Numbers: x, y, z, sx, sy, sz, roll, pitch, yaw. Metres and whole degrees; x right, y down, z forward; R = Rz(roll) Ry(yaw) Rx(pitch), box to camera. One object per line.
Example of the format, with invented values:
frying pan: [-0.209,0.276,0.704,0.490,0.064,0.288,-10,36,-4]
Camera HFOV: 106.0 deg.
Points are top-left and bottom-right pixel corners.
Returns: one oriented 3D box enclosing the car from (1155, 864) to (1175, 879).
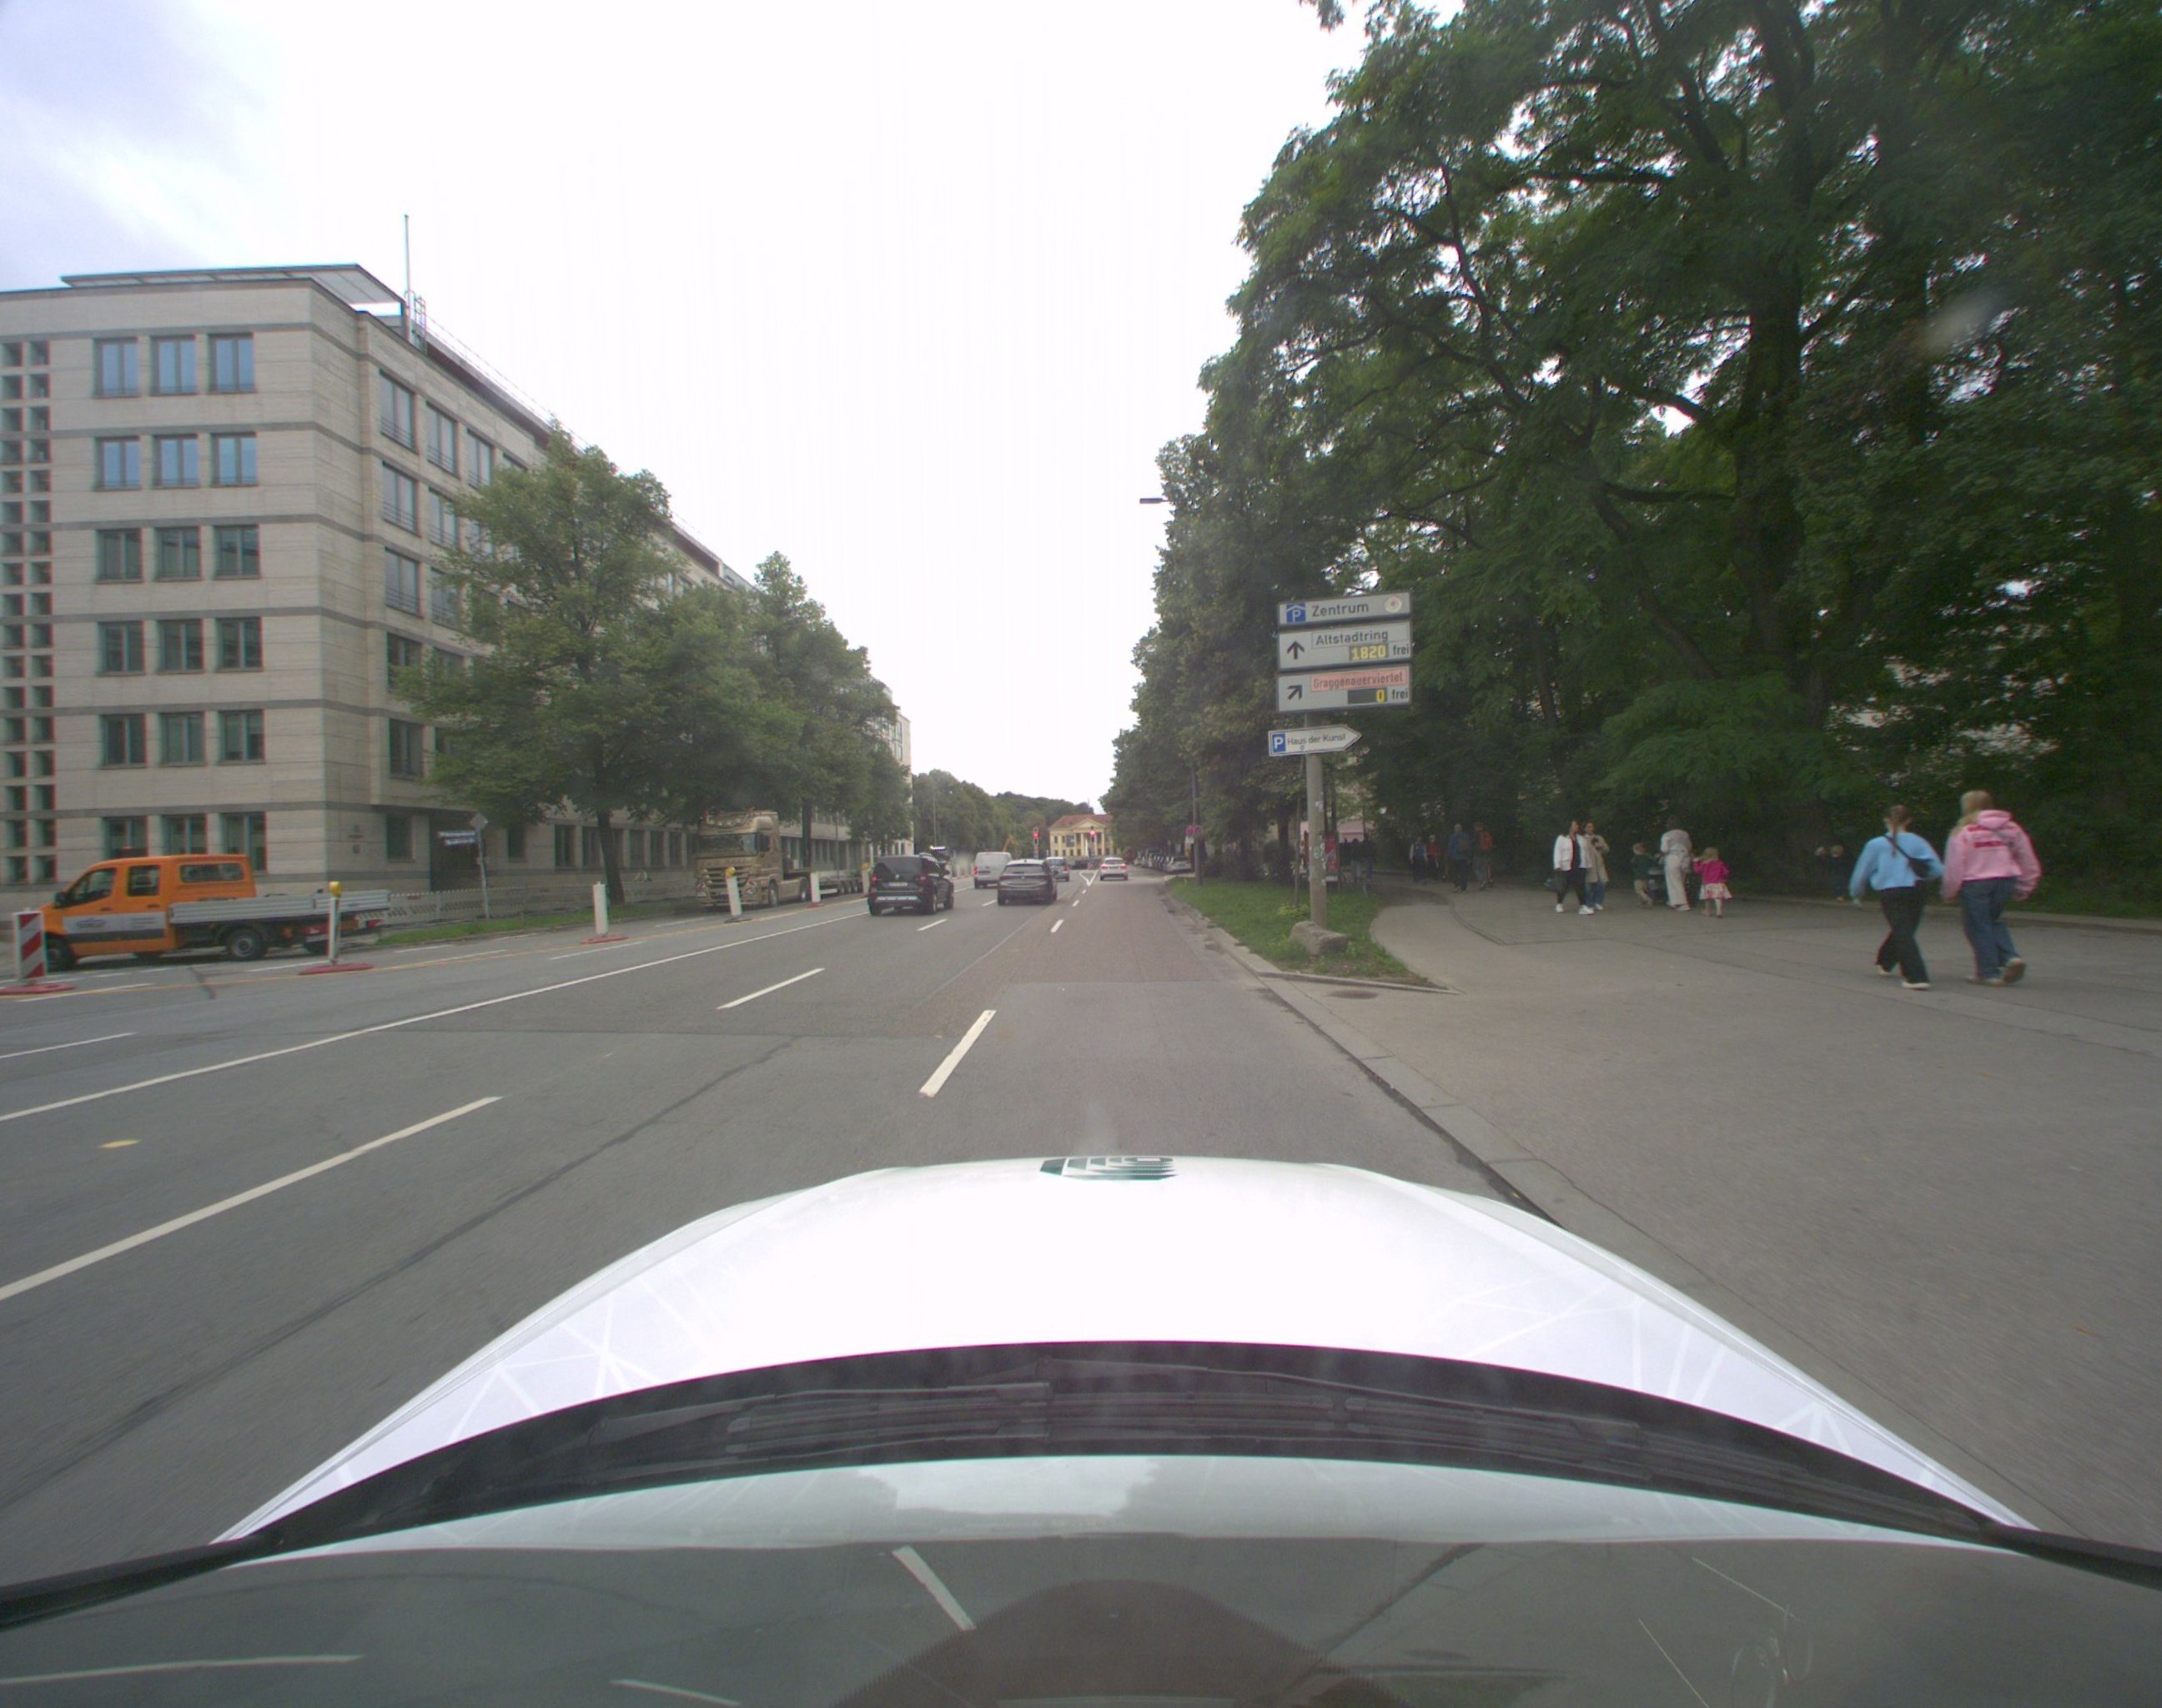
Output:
car: [8.666,1.760,84.263,1.815,1.464,4.030,-2,-1,3]

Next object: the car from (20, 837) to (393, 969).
car: [-19.086,1.021,18.019,5.666,2.536,2.155,-2,-1,-3]

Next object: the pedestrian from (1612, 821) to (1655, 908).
pedestrian: [10.141,0.194,14.953,0.481,1.566,0.575,-1,-1,17]

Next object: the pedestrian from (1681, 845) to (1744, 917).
pedestrian: [10.161,0.428,13.122,0.626,1.137,0.575,-1,-1,17]

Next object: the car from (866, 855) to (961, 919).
car: [-4.737,0.889,23.589,1.716,1.636,4.206,-2,-1,1]

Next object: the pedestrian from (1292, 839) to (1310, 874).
pedestrian: [13.001,0.158,48.167,0.760,2.013,0.777,-5,-1,2]

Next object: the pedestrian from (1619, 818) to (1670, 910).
pedestrian: [10.480,0.188,15.162,0.626,1.667,0.575,-1,-1,17]

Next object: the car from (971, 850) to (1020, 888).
car: [-4.509,0.801,43.683,1.891,1.847,4.957,-2,-1,1]

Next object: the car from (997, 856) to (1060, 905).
car: [-1.703,0.847,27.602,1.703,1.552,4.002,-1,0,2]

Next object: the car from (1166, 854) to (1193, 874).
car: [8.055,0.800,66.820,1.820,1.550,4.754,-2,-1,3]

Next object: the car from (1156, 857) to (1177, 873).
car: [8.246,1.082,78.775,1.717,1.464,4.779,-2,-1,3]

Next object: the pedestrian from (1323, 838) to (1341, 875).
pedestrian: [11.942,0.118,38.785,0.627,1.774,0.783,-1,-1,5]

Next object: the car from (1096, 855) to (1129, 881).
car: [2.039,0.884,53.094,1.775,1.644,3.995,-1,0,-3]

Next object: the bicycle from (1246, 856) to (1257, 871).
bicycle: [17.571,0.979,83.807,0.696,1.415,2.300,-2,-1,2]

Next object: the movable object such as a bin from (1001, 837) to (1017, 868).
movable object such as a bin: [-15.281,-0.324,173.100,2.689,6.511,5.178,-1,-1,2]

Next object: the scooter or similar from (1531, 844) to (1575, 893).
scooter or similar: [11.773,0.354,20.356,0.416,1.199,1.219,-1,-1,2]

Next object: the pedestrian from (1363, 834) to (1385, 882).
pedestrian: [10.931,0.162,30.404,0.604,1.763,0.798,-1,-1,5]

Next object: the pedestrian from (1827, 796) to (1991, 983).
pedestrian: [7.745,0.317,7.668,0.748,1.644,0.853,-1,-1,17]

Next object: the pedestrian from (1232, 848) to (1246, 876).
pedestrian: [10.589,0.533,54.635,0.776,1.910,0.771,-1,-1,2]

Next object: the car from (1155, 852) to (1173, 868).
car: [9.206,0.628,90.798,1.717,1.665,4.592,-2,-1,3]

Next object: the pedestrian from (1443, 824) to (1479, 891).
pedestrian: [10.100,0.094,21.681,0.748,1.737,0.853,-1,-1,17]

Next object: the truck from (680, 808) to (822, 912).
truck: [-13.205,0.239,33.397,2.908,3.775,7.659,-1,0,-2]

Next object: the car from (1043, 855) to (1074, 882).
car: [-1.403,0.920,53.042,1.773,1.654,4.001,-1,0,1]

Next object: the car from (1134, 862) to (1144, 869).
car: [10.782,2.161,151.769,1.717,1.324,4.030,-2,-1,3]

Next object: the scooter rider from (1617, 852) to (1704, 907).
scooter rider: [10.816,0.463,15.250,0.852,0.985,1.115,-1,0,2]

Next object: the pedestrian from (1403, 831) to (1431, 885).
pedestrian: [10.986,0.122,26.659,0.748,1.737,0.853,-1,-1,17]

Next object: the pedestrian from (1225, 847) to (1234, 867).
pedestrian: [13.813,0.282,75.863,0.761,1.910,0.771,-1,-1,2]

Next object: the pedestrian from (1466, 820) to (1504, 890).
pedestrian: [10.751,0.033,21.677,0.585,1.822,0.850,-1,-1,3]

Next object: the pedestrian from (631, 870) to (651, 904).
pedestrian: [-23.034,1.712,42.627,0.576,1.732,0.764,-1,-1,2]

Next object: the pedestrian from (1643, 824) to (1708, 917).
pedestrian: [10.000,0.274,13.711,0.678,1.515,0.562,-1,-1,2]

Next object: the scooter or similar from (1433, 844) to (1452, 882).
scooter or similar: [12.125,0.294,27.299,0.301,1.224,0.932,-2,-1,41]

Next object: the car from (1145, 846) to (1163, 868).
car: [9.352,0.403,104.995,1.987,2.643,4.878,-1,-1,1]

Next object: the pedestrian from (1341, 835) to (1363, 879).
pedestrian: [10.349,0.117,31.120,0.604,1.681,0.755,-1,-1,5]

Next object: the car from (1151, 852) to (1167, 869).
car: [9.338,0.778,97.878,1.717,1.867,4.030,-2,-1,3]

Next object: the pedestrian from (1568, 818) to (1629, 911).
pedestrian: [9.407,0.191,14.831,0.748,1.644,0.694,-1,-1,17]

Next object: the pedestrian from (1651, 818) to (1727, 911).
pedestrian: [10.569,0.181,14.189,0.678,1.566,0.873,-1,-1,3]

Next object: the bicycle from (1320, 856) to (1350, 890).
bicycle: [7.997,0.587,25.723,0.383,1.021,2.080,-1,0,3]

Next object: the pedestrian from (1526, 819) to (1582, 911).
pedestrian: [8.633,0.200,14.894,0.748,1.644,0.653,-1,-1,17]

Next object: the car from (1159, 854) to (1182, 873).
car: [7.904,0.851,71.997,1.717,1.550,4.588,-2,-1,3]

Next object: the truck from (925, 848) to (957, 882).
truck: [-14.758,1.134,86.435,2.837,3.357,8.744,0,0,-6]

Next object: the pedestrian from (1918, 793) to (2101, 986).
pedestrian: [8.455,0.308,7.466,0.748,1.644,0.853,-1,-1,17]

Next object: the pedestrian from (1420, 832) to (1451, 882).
pedestrian: [11.824,0.087,27.155,0.681,1.637,0.661,0,-1,-10]

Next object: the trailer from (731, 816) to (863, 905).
trailer: [-13.518,0.312,40.175,2.943,3.740,11.756,-1,0,-3]

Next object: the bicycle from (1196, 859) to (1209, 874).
bicycle: [9.736,1.002,65.401,0.626,1.231,2.618,-1,0,0]
